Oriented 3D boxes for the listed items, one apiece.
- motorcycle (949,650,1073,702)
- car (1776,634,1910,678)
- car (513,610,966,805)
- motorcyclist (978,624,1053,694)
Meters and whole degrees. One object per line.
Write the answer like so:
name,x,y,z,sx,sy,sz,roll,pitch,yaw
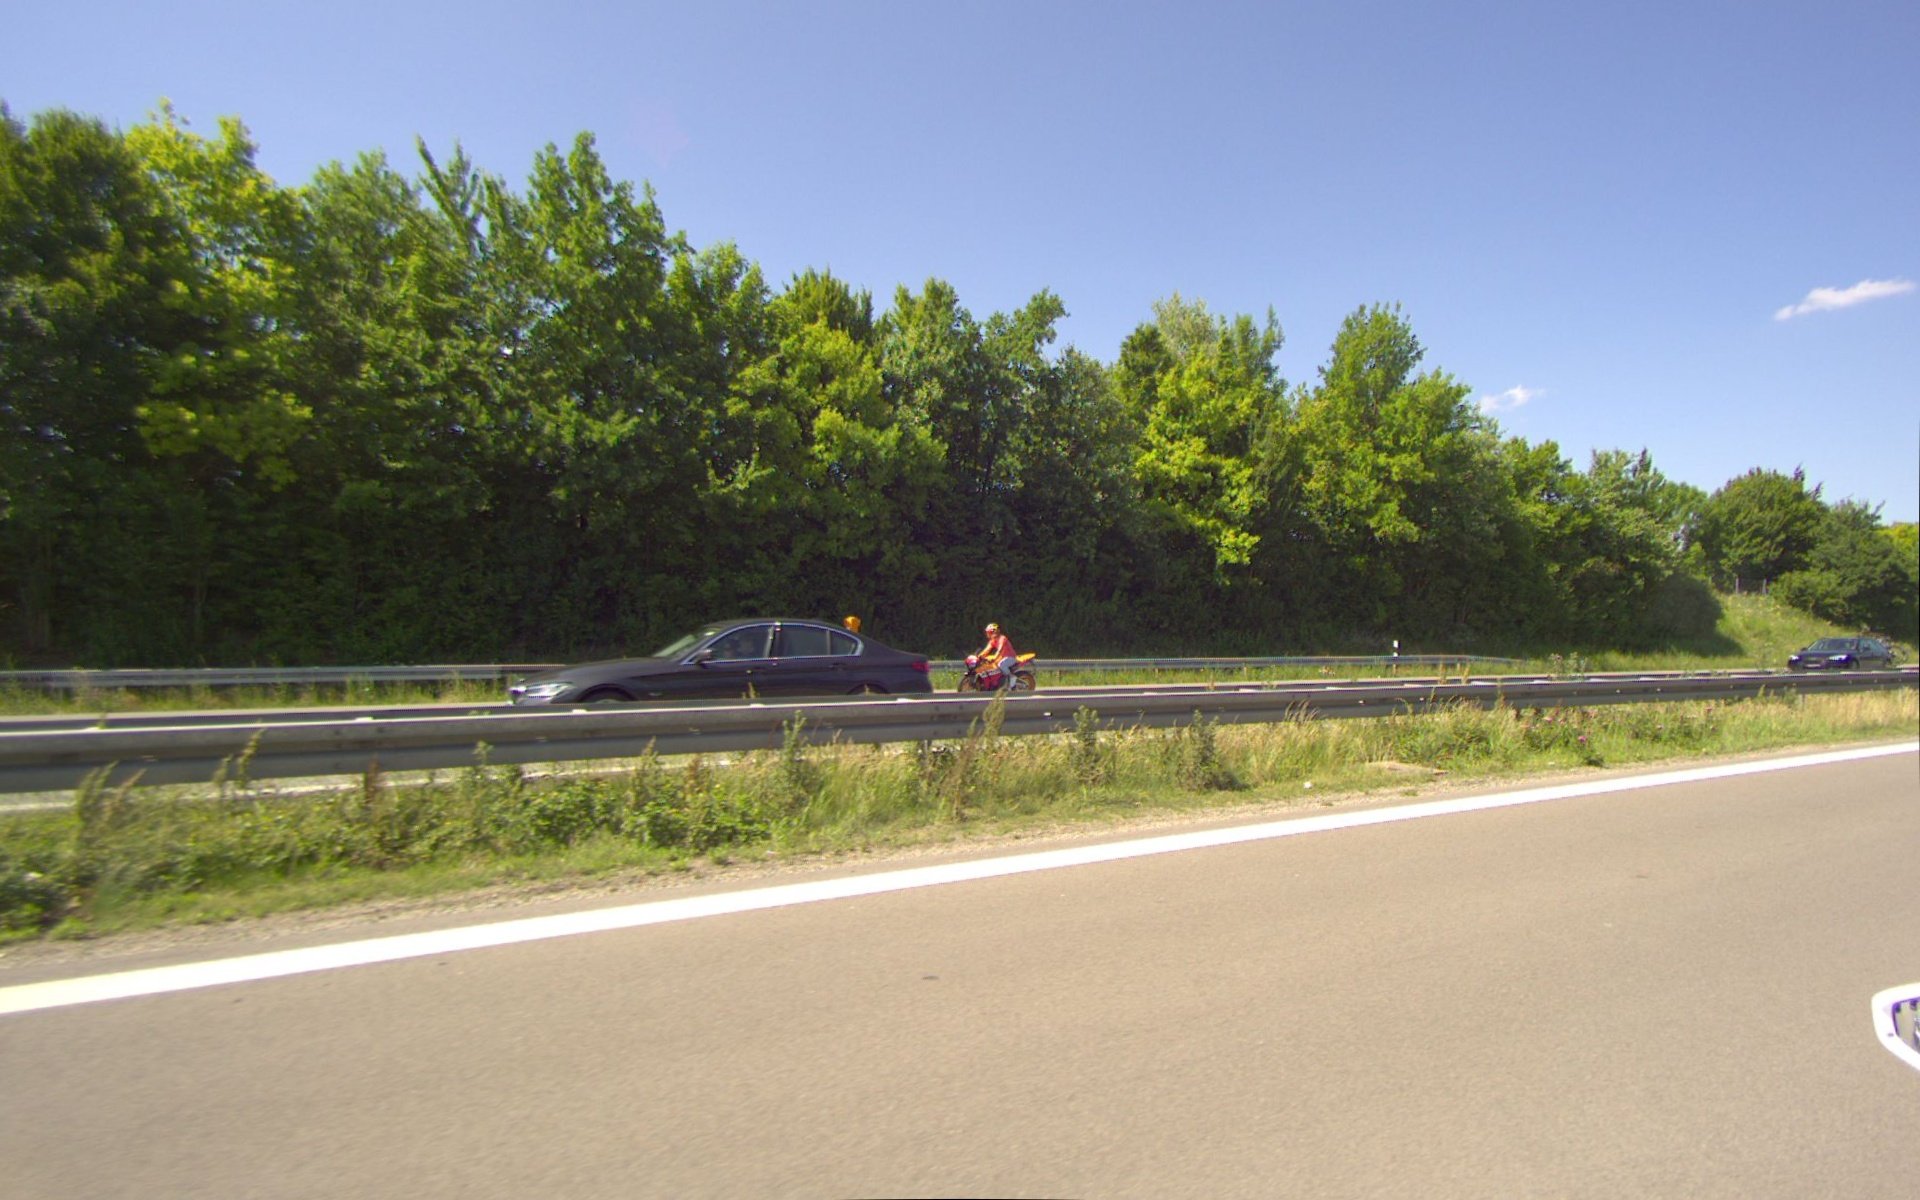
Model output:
motorcycle,1.117,1.611,21.689,2.624,1.031,0.930,1,-2,-31
car,32.073,1.982,36.446,5.556,1.494,1.984,1,-2,-30
car,-2.471,1.123,11.869,4.961,1.906,1.681,1,-2,-31
motorcyclist,1.202,1.261,21.758,1.341,1.463,0.936,1,-2,-31
